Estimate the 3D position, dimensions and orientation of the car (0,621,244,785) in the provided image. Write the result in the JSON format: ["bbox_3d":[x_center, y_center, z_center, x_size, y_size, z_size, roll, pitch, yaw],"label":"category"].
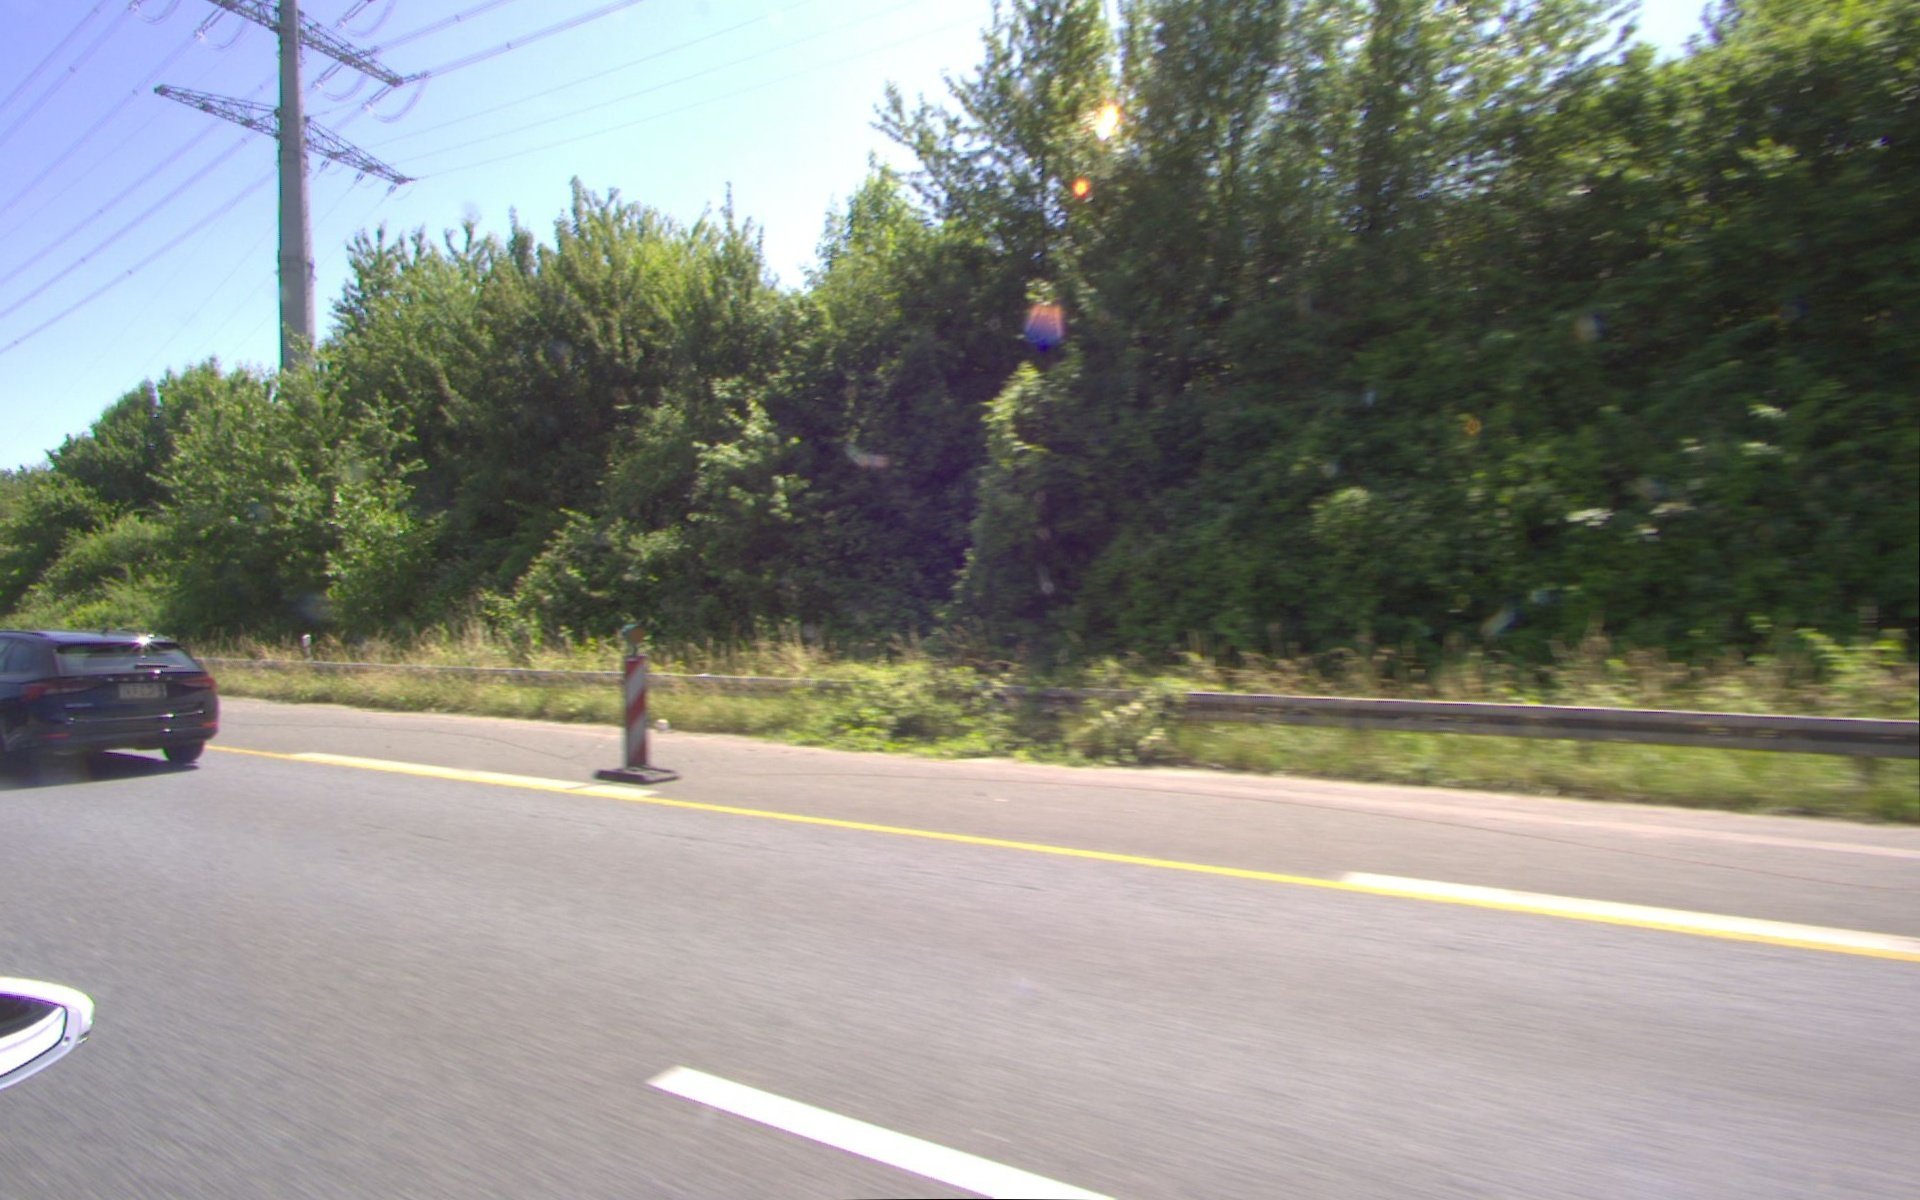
[{"bbox_3d":[-10.048,1.004,11.143,4.398,1.508,1.777,-1,-2,31],"label":"car"}]
